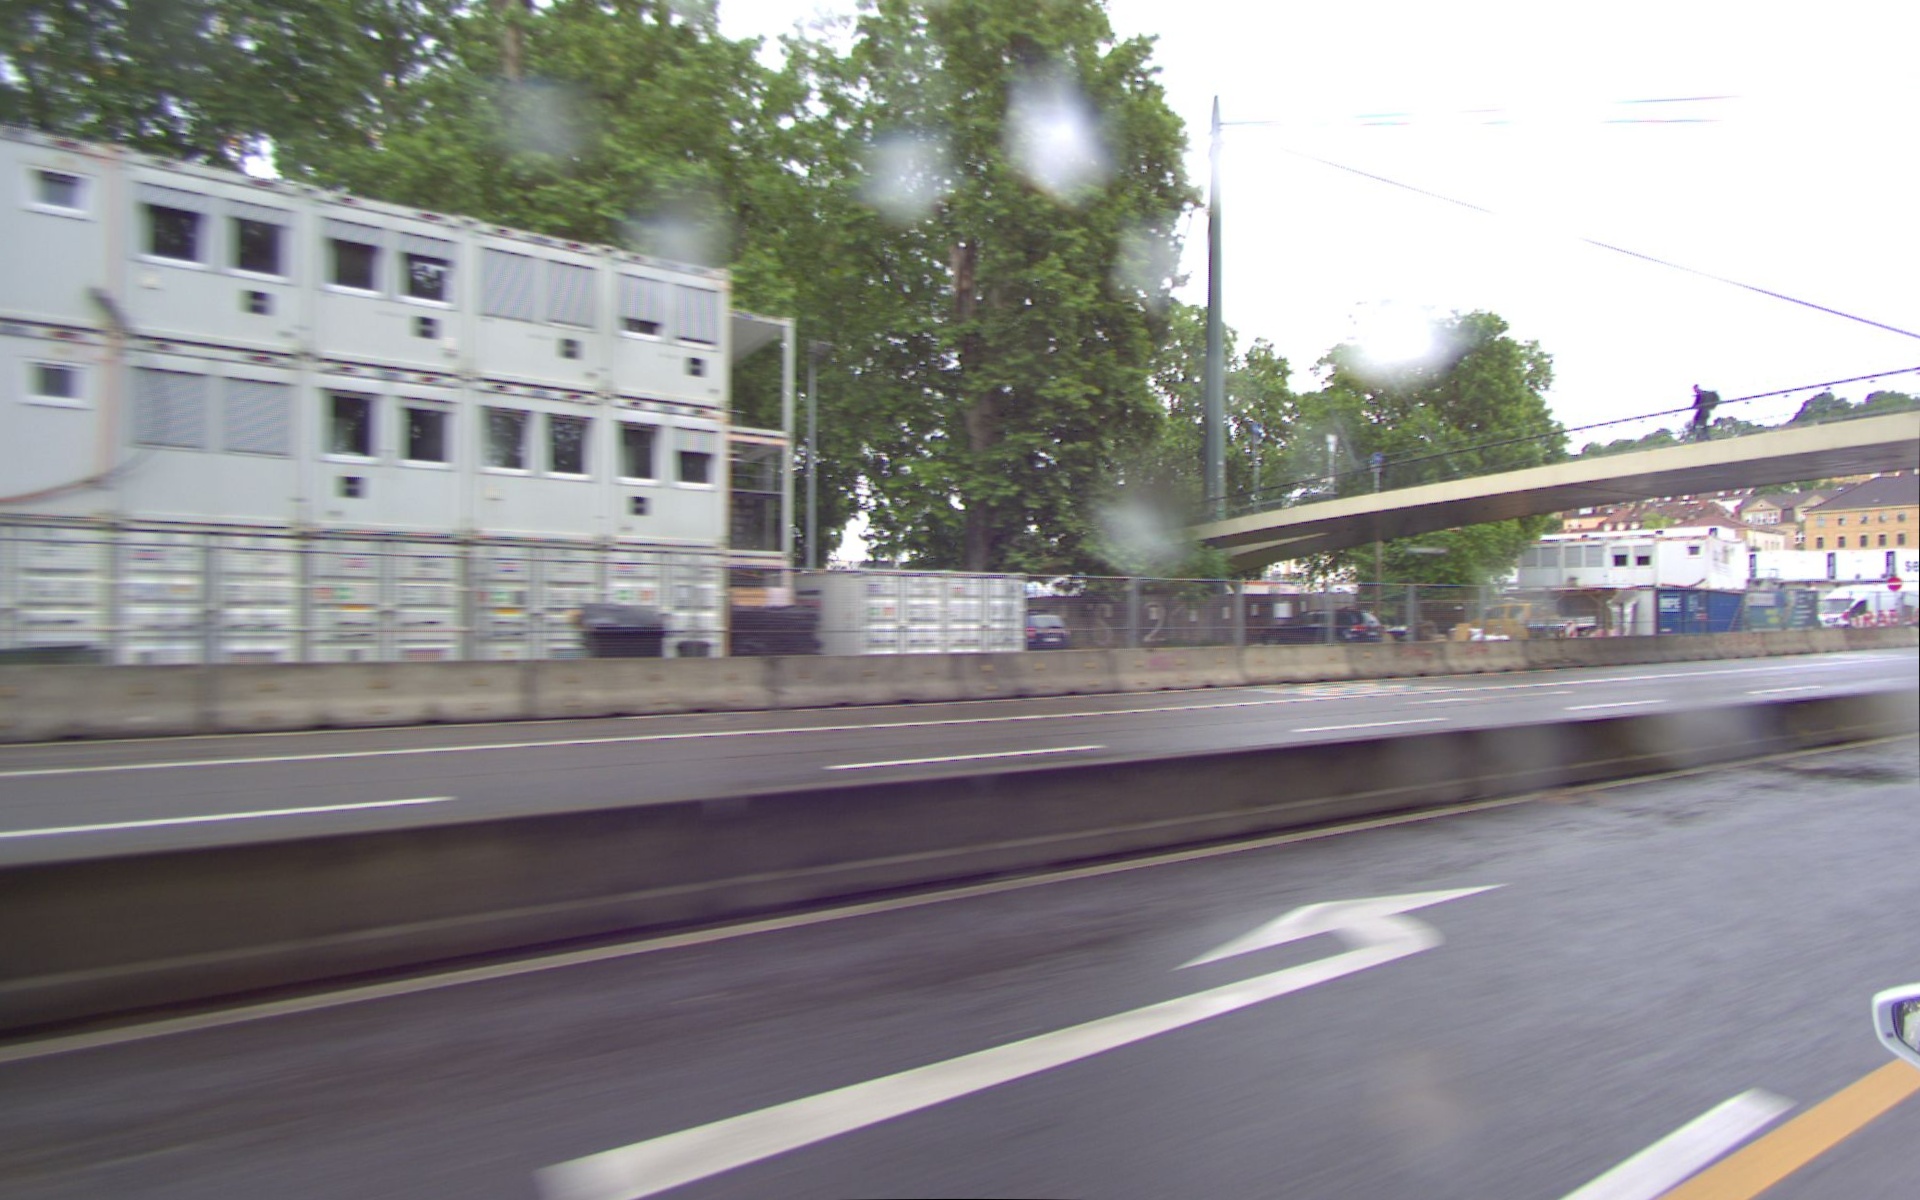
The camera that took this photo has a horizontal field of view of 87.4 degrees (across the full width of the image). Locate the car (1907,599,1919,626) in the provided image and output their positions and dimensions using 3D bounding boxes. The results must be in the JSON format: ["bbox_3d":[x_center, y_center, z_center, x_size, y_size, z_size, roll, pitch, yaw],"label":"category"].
[{"bbox_3d":[58.990,0.787,60.052,4.616,1.586,1.758,1,-2,-23],"label":"car"}]

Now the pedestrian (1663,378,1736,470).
[{"bbox_3d":[19.179,-4.534,26.063,1.045,2.087,1.145,1,-2,-24],"label":"pedestrian"}]

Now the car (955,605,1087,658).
[{"bbox_3d":[1.747,0.933,29.748,1.978,1.462,3.965,1,-2,-32],"label":"car"}]

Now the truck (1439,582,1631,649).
[{"bbox_3d":[23.158,0.681,40.718,2.671,2.484,6.227,2,-2,-39],"label":"truck"}]

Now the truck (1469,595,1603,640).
[{"bbox_3d":[27.650,0.862,48.407,2.143,2.040,5.212,1,-2,-36],"label":"truck"}]

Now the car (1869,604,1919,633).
[{"bbox_3d":[54.421,1.037,57.919,4.125,1.586,1.754,-1,0,-30],"label":"car"}]

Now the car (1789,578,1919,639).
[{"bbox_3d":[44.609,0.451,49.652,5.937,2.913,1.999,1,-2,-5],"label":"car"}]

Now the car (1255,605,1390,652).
[{"bbox_3d":[13.561,1.079,37.766,1.943,1.649,4.386,1,-2,-40],"label":"car"}]
